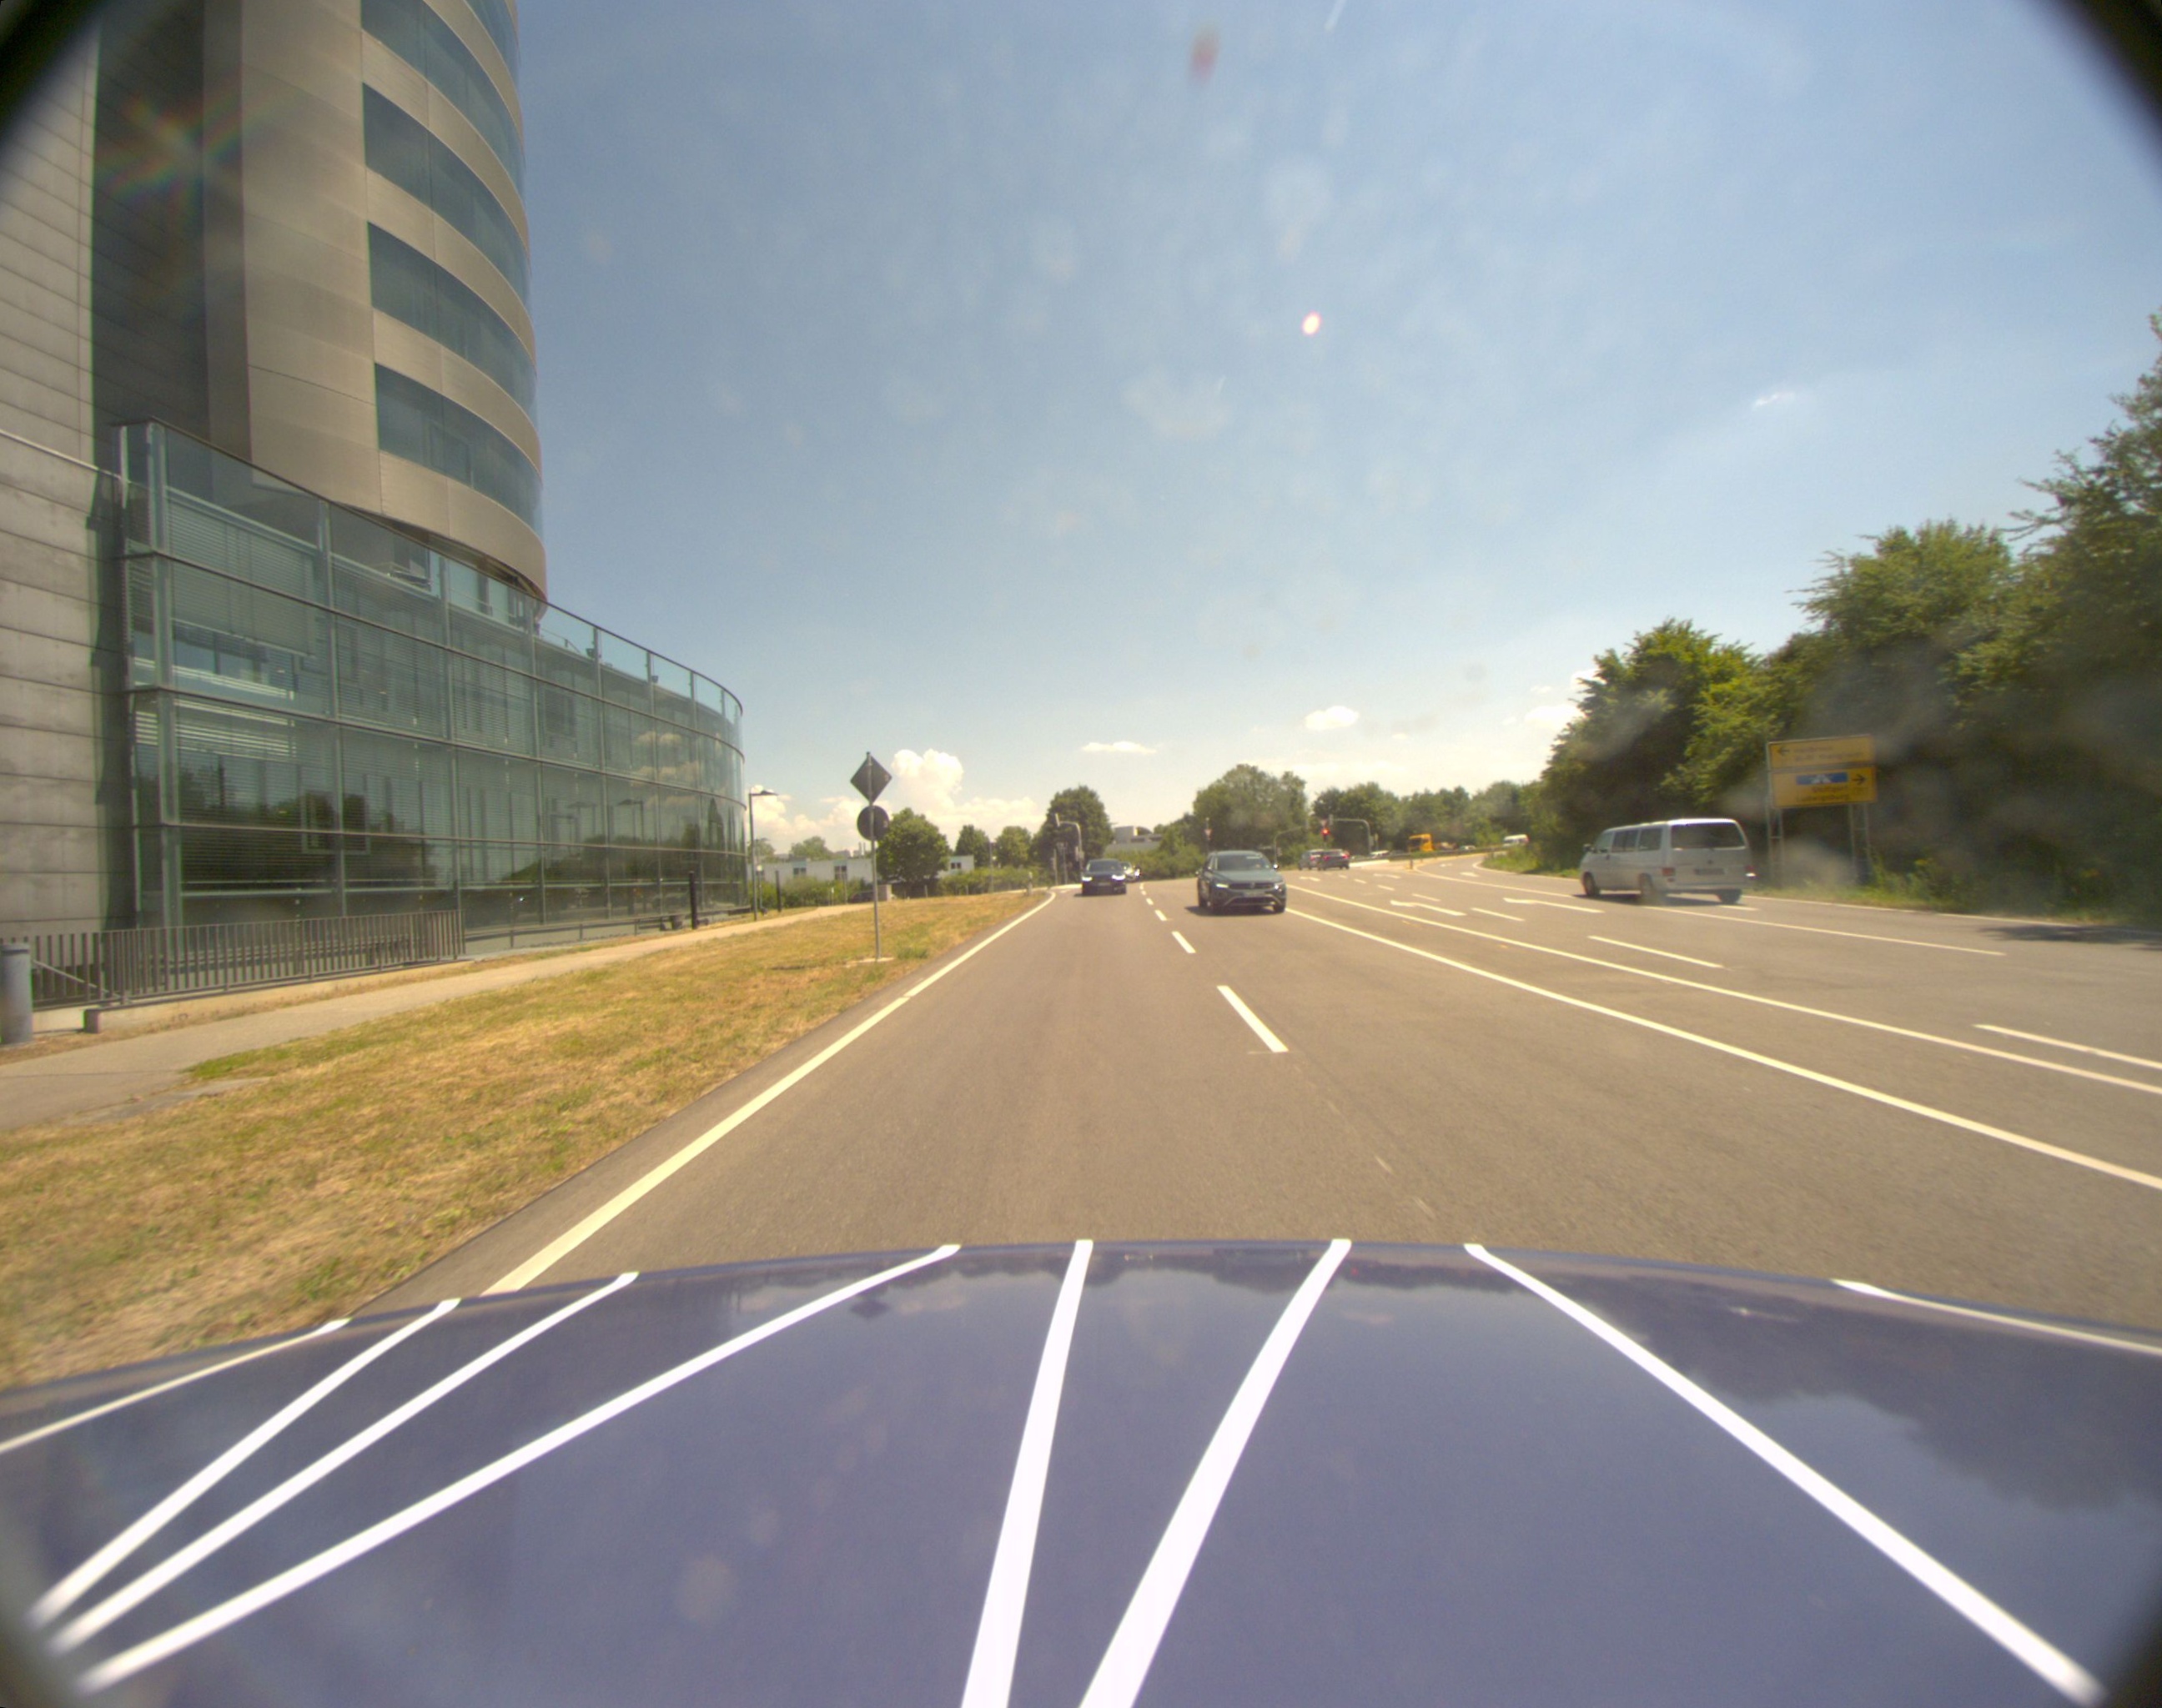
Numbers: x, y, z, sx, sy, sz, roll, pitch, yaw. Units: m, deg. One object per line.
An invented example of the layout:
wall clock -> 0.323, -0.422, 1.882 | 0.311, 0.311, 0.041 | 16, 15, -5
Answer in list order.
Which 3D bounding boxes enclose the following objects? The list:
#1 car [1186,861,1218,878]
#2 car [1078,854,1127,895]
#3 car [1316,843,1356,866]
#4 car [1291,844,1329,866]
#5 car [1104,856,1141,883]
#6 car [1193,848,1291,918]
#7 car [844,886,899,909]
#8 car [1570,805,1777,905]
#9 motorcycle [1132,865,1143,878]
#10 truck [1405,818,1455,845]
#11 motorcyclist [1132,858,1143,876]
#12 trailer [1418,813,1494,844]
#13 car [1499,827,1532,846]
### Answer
car -> 12.666, 1.617, 79.137 | 2.114, 1.582, 4.457 | -2, 0, 24
car -> 0.938, 0.811, 31.066 | 1.779, 1.497, 4.562 | -2, 0, 4
car -> 18.314, 0.050, 54.728 | 1.997, 1.430, 4.226 | -4, -1, 9
car -> 18.859, 0.126, 62.724 | 1.612, 1.589, 4.354 | -5, -1, -1
car -> 2.741, 0.999, 49.380 | 1.933, 1.577, 4.182 | -5, -1, 7
car -> 4.084, 0.670, 19.942 | 1.839, 1.577, 4.392 | -2, 0, 3
car -> -17.815, 3.677, 64.790 | 4.355, 1.589, 1.936 | -4, -1, -14
car -> 14.295, 0.052, 18.787 | 1.977, 2.001, 4.845 | -5, -1, 12
motorcycle -> 4.749, 1.455, 63.789 | 0.734, 1.131, 2.073 | -1, -1, 1
truck -> 50.813, -3.304, 110.630 | 6.866, 3.516, 2.980 | -4, -1, -29
motorcyclist -> 4.744, 1.123, 63.626 | 0.860, 1.479, 1.162 | -1, 0, 1
trailer -> 56.304, -3.872, 113.852 | 13.190, 4.038, 3.067 | -4, -1, -30
car -> 68.107, -2.705, 119.137 | 5.489, 2.591, 2.165 | -4, -2, -36
